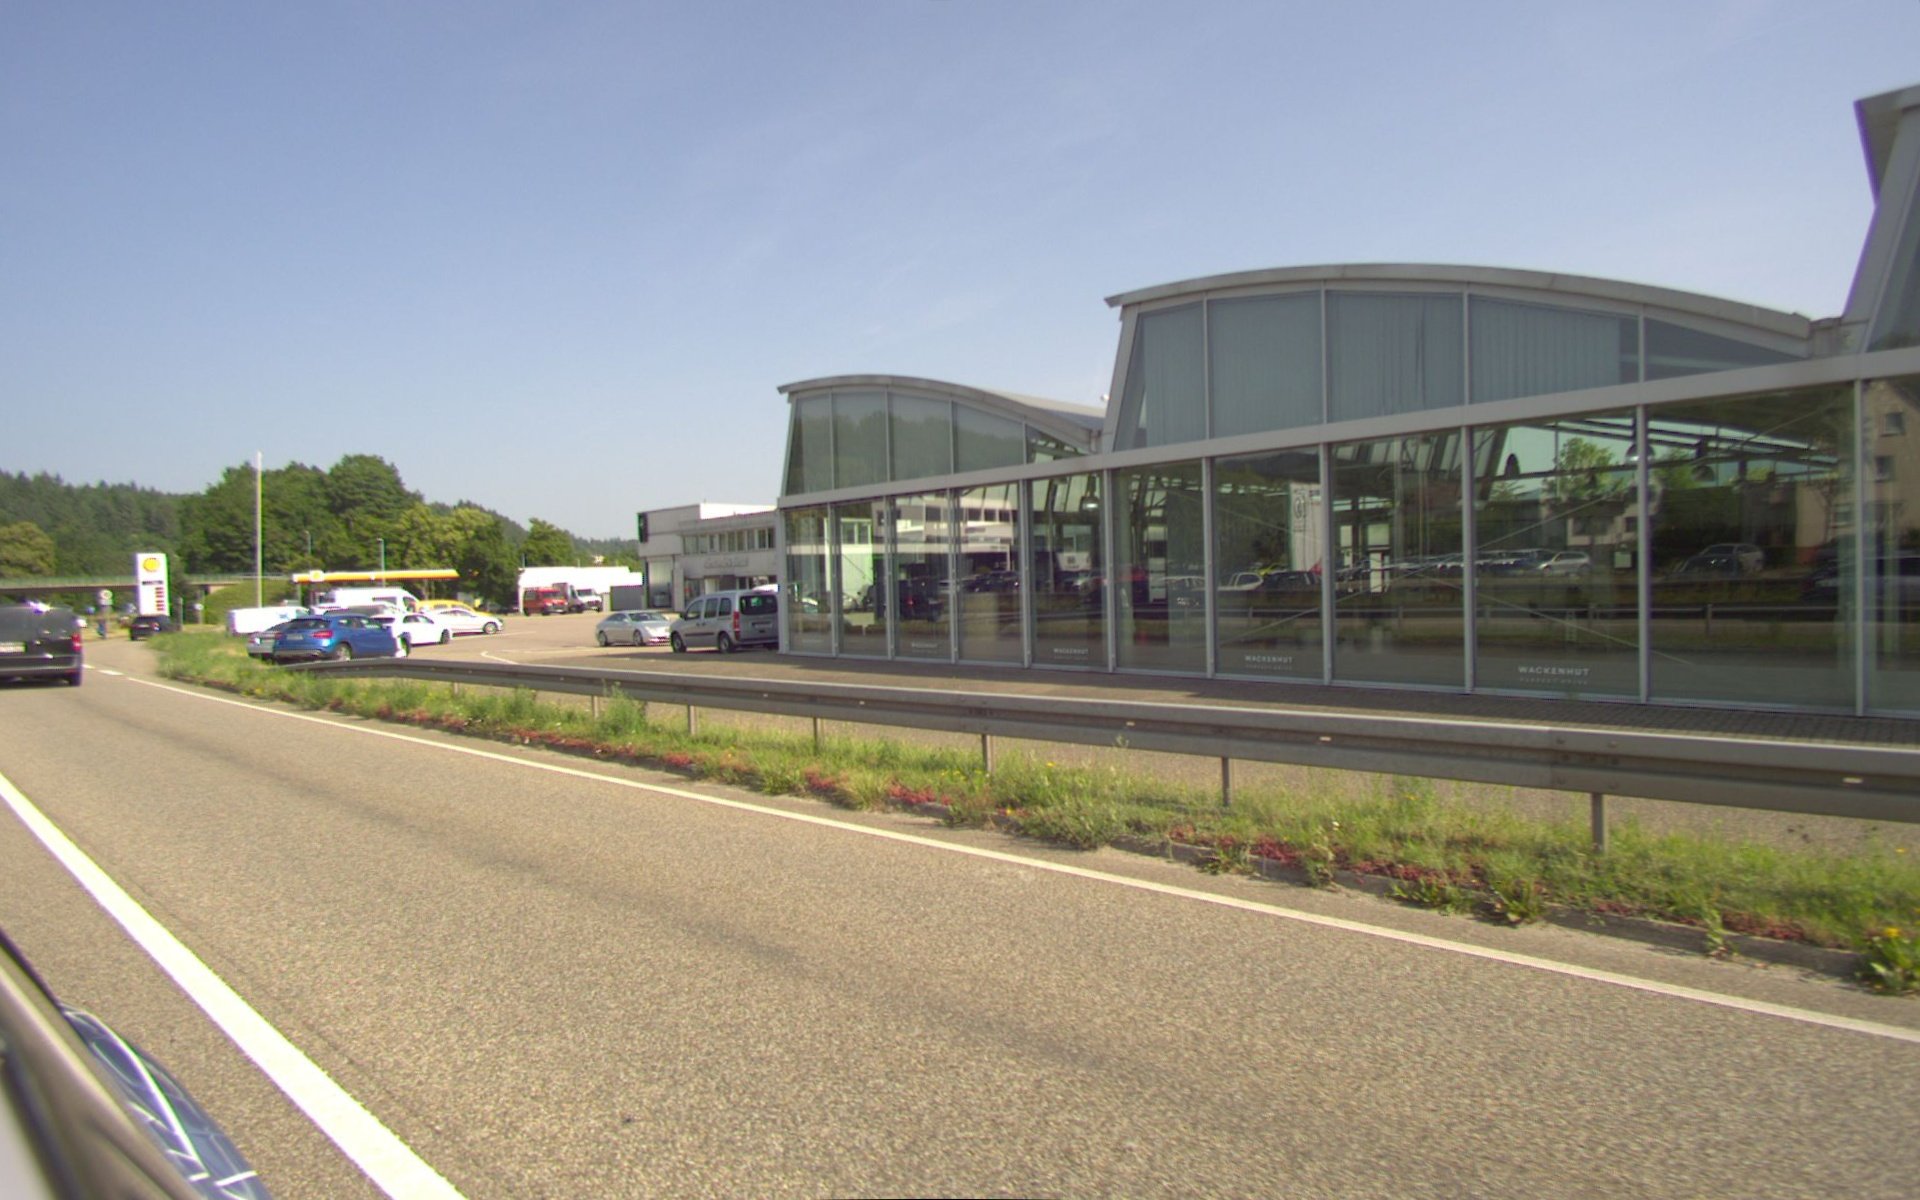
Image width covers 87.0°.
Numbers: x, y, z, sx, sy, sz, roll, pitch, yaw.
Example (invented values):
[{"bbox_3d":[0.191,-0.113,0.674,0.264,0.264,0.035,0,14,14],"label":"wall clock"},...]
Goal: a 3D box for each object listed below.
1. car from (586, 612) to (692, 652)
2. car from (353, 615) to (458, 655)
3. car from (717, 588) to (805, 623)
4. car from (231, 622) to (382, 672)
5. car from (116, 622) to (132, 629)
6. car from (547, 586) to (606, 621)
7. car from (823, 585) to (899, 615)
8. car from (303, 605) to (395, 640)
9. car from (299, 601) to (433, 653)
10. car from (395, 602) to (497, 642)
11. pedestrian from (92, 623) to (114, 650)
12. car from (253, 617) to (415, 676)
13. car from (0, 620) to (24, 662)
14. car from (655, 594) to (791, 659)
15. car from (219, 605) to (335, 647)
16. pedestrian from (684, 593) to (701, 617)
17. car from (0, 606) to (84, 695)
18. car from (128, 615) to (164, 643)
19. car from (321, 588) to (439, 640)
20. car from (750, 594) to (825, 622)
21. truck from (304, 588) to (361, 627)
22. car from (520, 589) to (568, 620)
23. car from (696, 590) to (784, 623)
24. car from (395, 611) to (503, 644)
[{"bbox_3d":[-12.290,1.231,38.546,4.833,1.397,1.785,-3,-1,45],"label":"car"},{"bbox_3d":[-23.148,1.421,42.437,1.873,1.413,4.226,-1,1,4],"label":"car"},{"bbox_3d":[-11.805,0.308,60.233,4.759,1.868,1.954,-2,-1,-44],"label":"car"},{"bbox_3d":[-20.838,1.465,32.521,1.829,1.378,4.389,-1,0,4],"label":"car"},{"bbox_3d":[-135.166,4.116,163.619,1.780,1.181,4.109,1,-1,-37],"label":"car"},{"bbox_3d":[-33.192,0.299,87.485,2.367,2.877,6.532,-1,0,-44],"label":"car"},{"bbox_3d":[-5.902,0.005,59.802,4.833,1.578,1.785,-3,-1,45],"label":"car"},{"bbox_3d":[-37.567,1.343,62.294,1.988,1.853,4.396,-1,2,44],"label":"car"},{"bbox_3d":[-26.889,1.175,45.909,2.229,1.996,4.739,-2,2,44],"label":"car"},{"bbox_3d":[-26.981,1.132,53.229,2.002,1.821,4.332,-2,2,44],"label":"car"},{"bbox_3d":[-56.680,2.410,66.941,0.835,1.702,1.147,-1,0,-26],"label":"pedestrian"},{"bbox_3d":[-18.228,1.312,29.731,1.960,1.518,4.227,-1,0,4],"label":"car"},{"bbox_3d":[-39.598,1.642,41.189,4.225,1.642,1.773,-1,-1,42],"label":"car"},{"bbox_3d":[-6.958,0.773,29.497,1.784,1.726,4.410,-2,-1,-45],"label":"car"},{"bbox_3d":[-35.535,1.322,52.734,2.144,1.871,4.619,-2,1,44],"label":"car"},{"bbox_3d":[-18.918,0.337,71.642,0.850,1.702,0.811,-1,0,42],"label":"pedestrian"},{"bbox_3d":[-21.941,1.124,23.573,4.912,1.899,1.893,-1,-1,44],"label":"car"},{"bbox_3d":[-53.476,1.933,66.451,1.788,1.642,4.549,1,-4,-39],"label":"car"},{"bbox_3d":[-34.745,0.796,60.729,5.655,2.765,2.287,-4,2,-45],"label":"car"},{"bbox_3d":[-9.712,0.449,56.736,4.569,1.503,1.785,0,1,45],"label":"car"},{"bbox_3d":[-72.031,0.845,116.553,3.010,4.165,16.828,-1,0,-23],"label":"truck"},{"bbox_3d":[-34.927,0.397,84.899,1.859,2.404,5.226,-1,0,-44],"label":"car"},{"bbox_3d":[-13.387,0.375,61.839,4.759,1.868,2.213,-2,-1,-44],"label":"car"},{"bbox_3d":[-25.651,1.349,50.856,1.967,1.409,4.416,-1,1,44],"label":"car"}]
